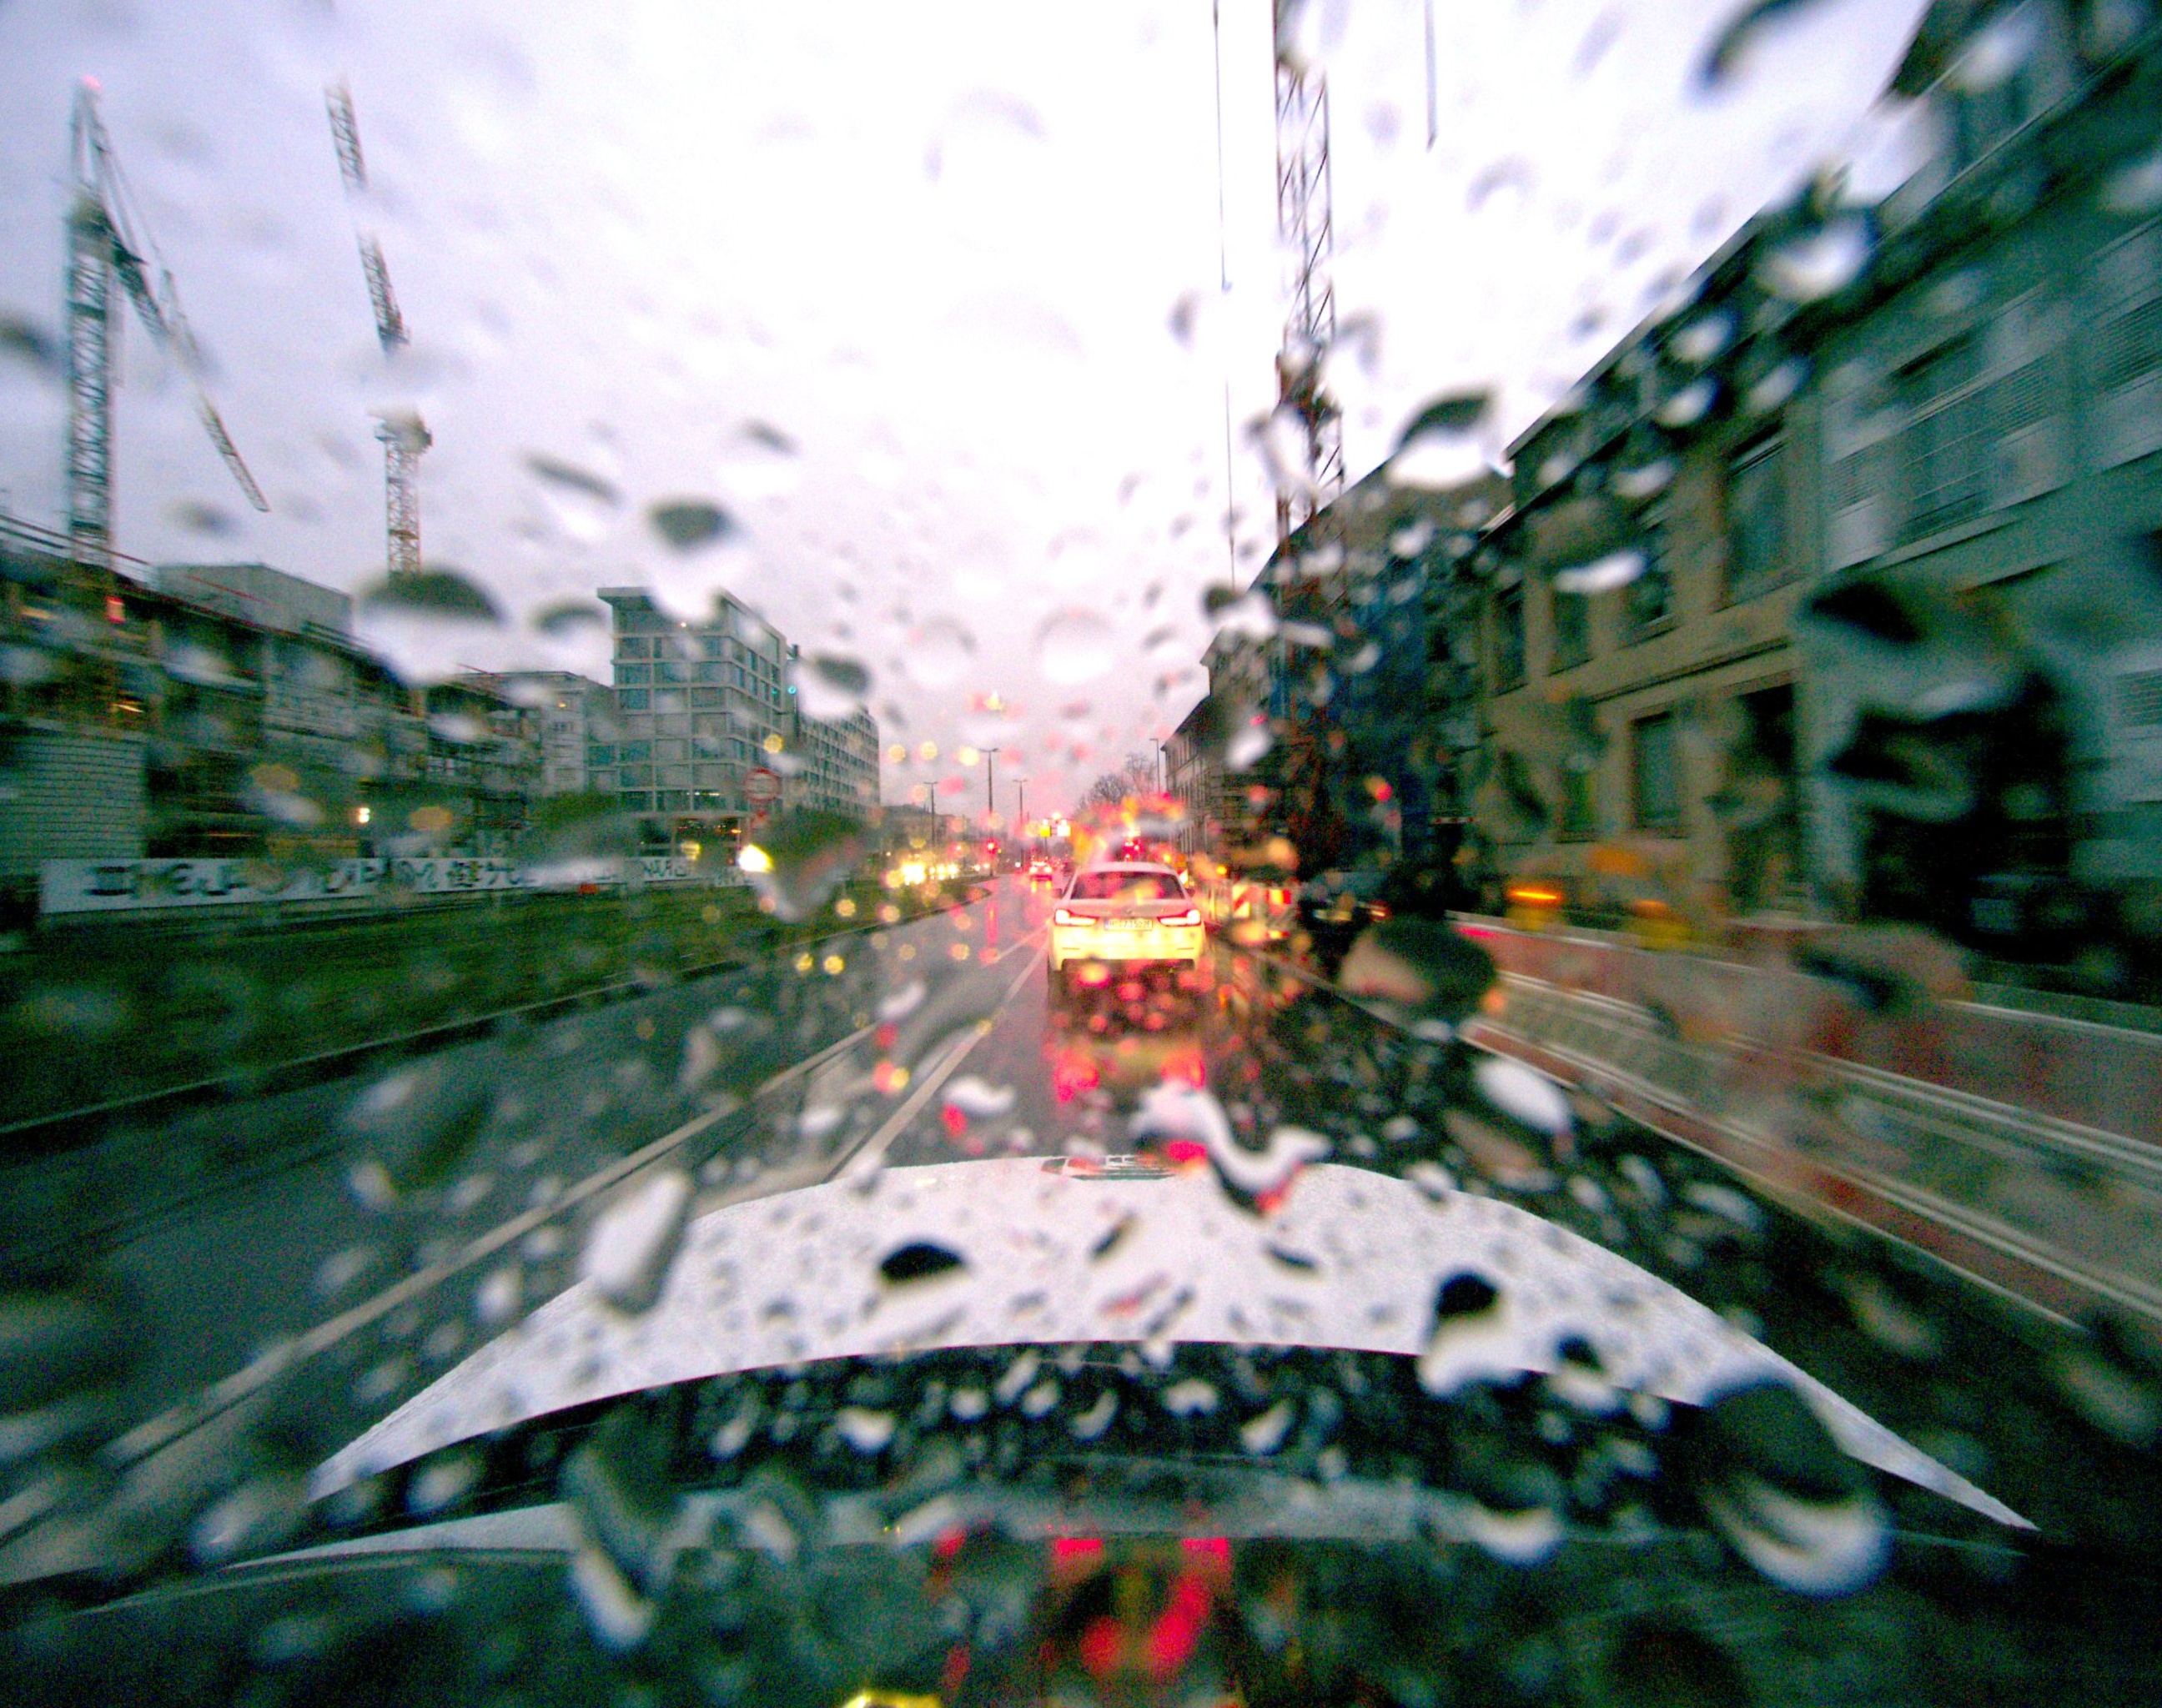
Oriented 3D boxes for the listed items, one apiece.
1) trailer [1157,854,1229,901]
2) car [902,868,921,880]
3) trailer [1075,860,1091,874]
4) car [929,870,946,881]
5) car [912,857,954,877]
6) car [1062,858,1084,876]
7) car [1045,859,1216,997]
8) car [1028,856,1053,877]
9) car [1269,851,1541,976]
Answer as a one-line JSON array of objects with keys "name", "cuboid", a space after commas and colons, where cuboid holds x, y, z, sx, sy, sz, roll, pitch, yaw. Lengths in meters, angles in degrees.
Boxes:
[{"name": "trailer", "cuboid": [3.956, 0.789, 29.590, 1.830, 1.490, 4.845, -2, 0, -1]}, {"name": "car", "cuboid": [-21.855, 2.603, 104.885, 1.746, 1.492, 3.517, -1, 0, -21]}, {"name": "trailer", "cuboid": [0.242, 1.617, 103.804, 1.830, 1.643, 3.995, -1, 0, -4]}, {"name": "car", "cuboid": [-22.777, 3.453, 129.339, 1.851, 1.640, 4.033, -1, 0, 1]}, {"name": "car", "cuboid": [-15.245, 1.311, 83.941, 4.000, 1.975, 1.986, -1, 0, -20]}, {"name": "car", "cuboid": [-0.691, 1.135, 73.724, 1.834, 1.519, 4.001, -1, 0, 2]}, {"name": "car", "cuboid": [0.470, 0.818, 11.332, 1.847, 1.465, 4.943, -1, 0, -2]}, {"name": "car", "cuboid": [-3.336, 1.037, 67.225, 1.895, 1.642, 3.998, -1, 0, -1]}, {"name": "car", "cuboid": [4.891, 0.747, 12.084, 4.114, 1.518, 1.886, -1, 0, -37]}]
